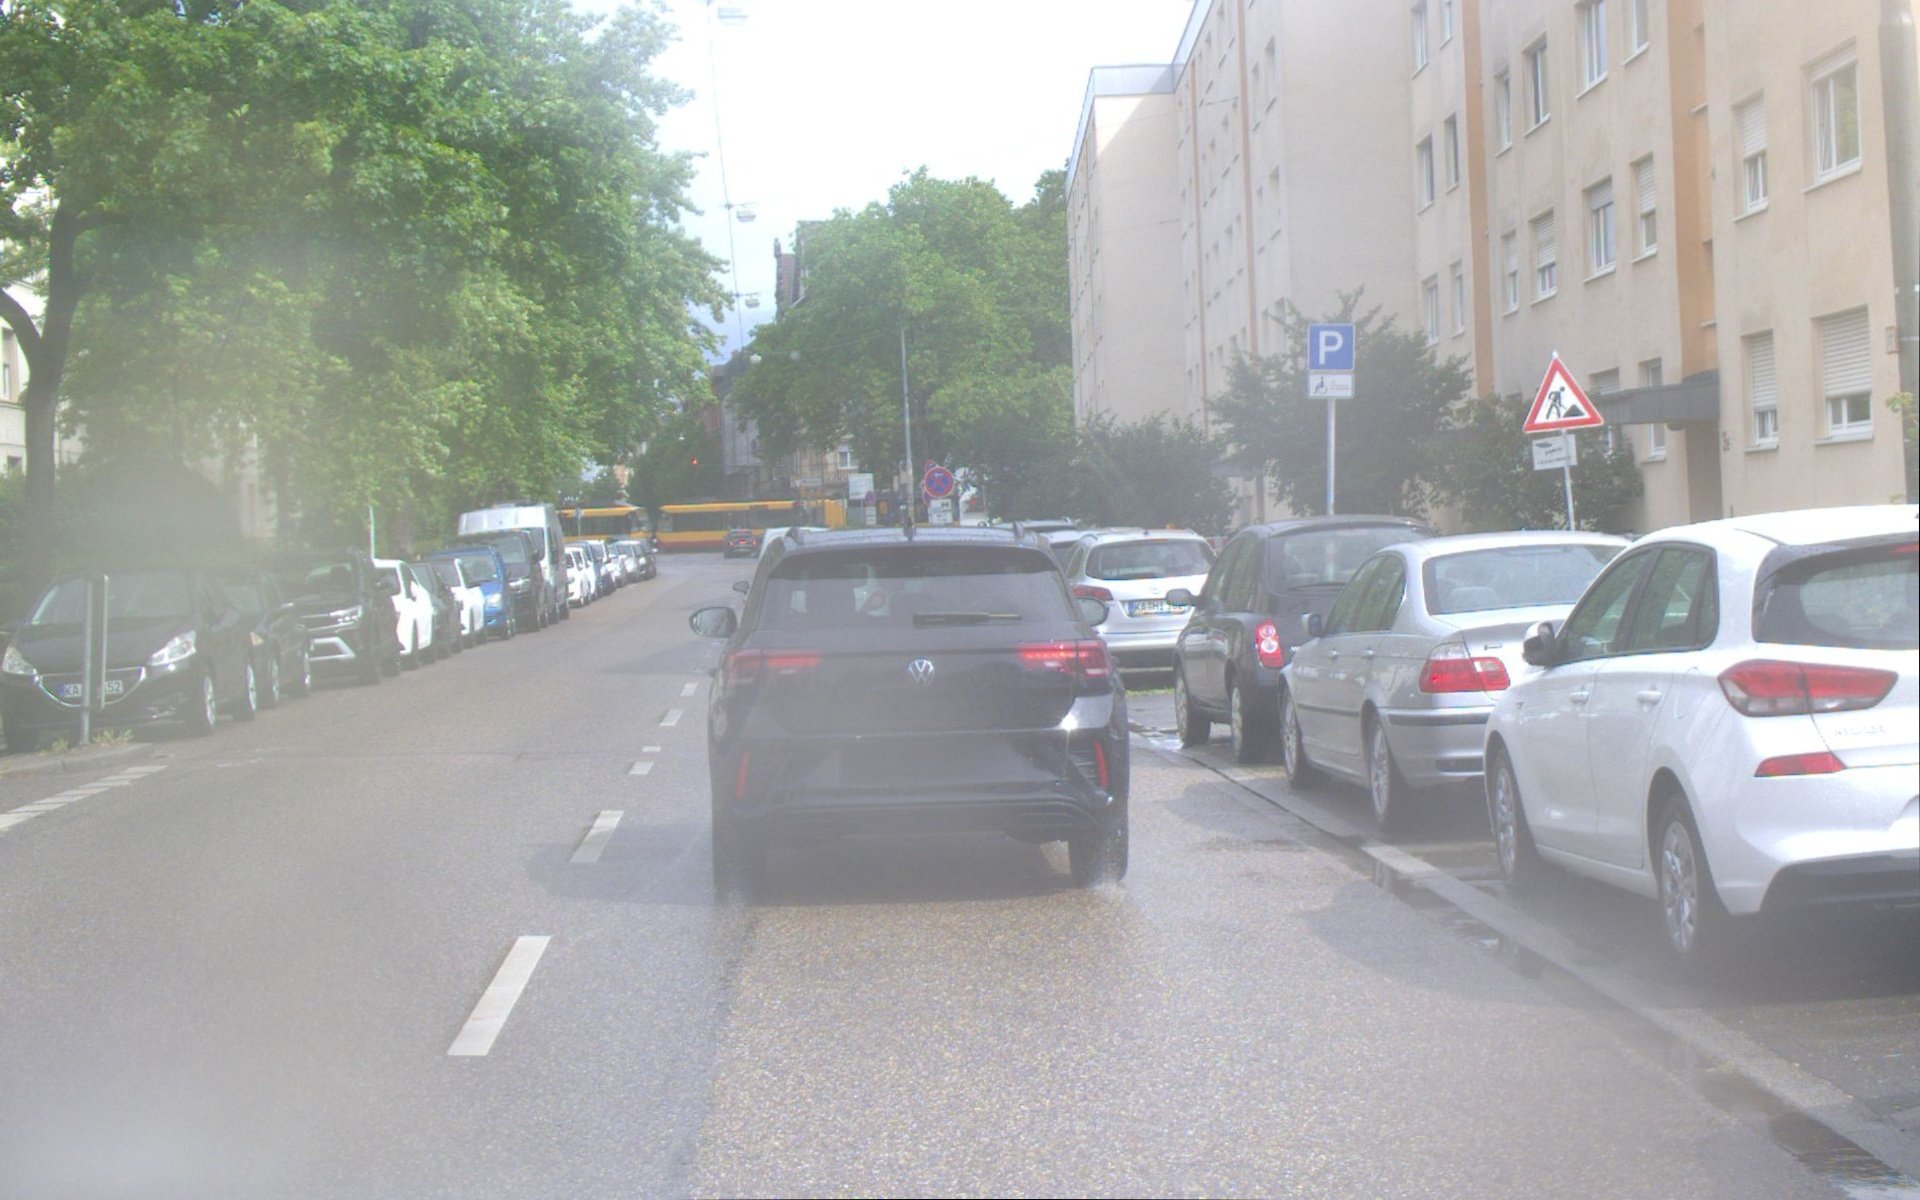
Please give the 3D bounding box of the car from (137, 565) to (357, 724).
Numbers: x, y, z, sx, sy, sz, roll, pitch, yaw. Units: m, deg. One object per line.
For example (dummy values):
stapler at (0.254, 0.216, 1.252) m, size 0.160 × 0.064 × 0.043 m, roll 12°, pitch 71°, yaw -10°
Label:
car at (-7.212, 0.405, 35.106) m, size 1.585 × 1.413 × 4.053 m, roll -3°, pitch 1°, yaw -4°

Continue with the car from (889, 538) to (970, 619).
car at (-0.730, -0.521, 80.554) m, size 1.604 × 1.759 × 4.033 m, roll -3°, pitch 1°, yaw -3°

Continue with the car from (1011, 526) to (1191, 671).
car at (1.576, -0.051, 39.628) m, size 1.604 × 1.500 × 4.033 m, roll -3°, pitch 1°, yaw -3°

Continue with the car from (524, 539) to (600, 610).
car at (-9.870, -0.658, 85.389) m, size 1.585 × 1.633 × 3.921 m, roll -3°, pitch 1°, yaw -4°

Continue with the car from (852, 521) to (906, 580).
car at (-2.674, -1.643, 113.060) m, size 1.665 × 1.831 × 4.000 m, roll -3°, pitch 1°, yaw -1°

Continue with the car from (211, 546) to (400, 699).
car at (-7.492, 0.215, 39.667) m, size 1.585 × 1.570 × 4.015 m, roll -3°, pitch 1°, yaw -4°

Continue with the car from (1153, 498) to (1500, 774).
car at (2.343, 0.169, 22.884) m, size 1.604 × 1.656 × 4.033 m, roll -1°, pitch 1°, yaw -4°

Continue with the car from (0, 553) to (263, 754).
car at (-7.080, 0.402, 29.417) m, size 1.585 × 1.500 × 4.065 m, roll -3°, pitch 1°, yaw -4°

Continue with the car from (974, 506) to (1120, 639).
car at (1.163, -0.401, 47.555) m, size 1.604 × 1.666 × 4.033 m, roll -3°, pitch 1°, yaw -3°

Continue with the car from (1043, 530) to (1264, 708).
car at (1.817, 0.136, 33.411) m, size 1.695 × 1.533 × 4.033 m, roll -3°, pitch 1°, yaw -2°

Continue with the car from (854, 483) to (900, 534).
car at (-3.180, -3.490, 131.413) m, size 1.665 × 1.831 × 4.000 m, roll -3°, pitch 1°, yaw -1°

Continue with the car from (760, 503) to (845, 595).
car at (-3.646, -1.172, 80.236) m, size 1.836 × 2.095 × 4.000 m, roll 0°, pitch 0°, yaw 0°

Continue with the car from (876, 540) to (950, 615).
car at (-1.204, -0.595, 86.632) m, size 1.604 × 1.759 × 4.033 m, roll -3°, pitch 1°, yaw -3°

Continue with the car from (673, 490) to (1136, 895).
car at (-0.209, 0.347, 16.039) m, size 1.873 × 1.640 × 4.062 m, roll 0°, pitch 1°, yaw 1°

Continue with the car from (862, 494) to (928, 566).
car at (-1.793, -1.911, 93.699) m, size 1.665 × 1.831 × 4.000 m, roll -3°, pitch 1°, yaw -1°

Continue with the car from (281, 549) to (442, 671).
car at (-7.762, 0.096, 44.876) m, size 1.585 × 1.413 × 3.921 m, roll -3°, pitch 1°, yaw -4°

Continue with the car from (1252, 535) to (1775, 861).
car at (2.682, 0.406, 17.640) m, size 1.716 × 1.447 × 4.260 m, roll -1°, pitch 1°, yaw -4°

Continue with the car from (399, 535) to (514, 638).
car at (-8.703, -0.256, 59.669) m, size 1.585 × 1.633 × 3.921 m, roll -3°, pitch 1°, yaw -4°

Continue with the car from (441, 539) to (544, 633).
car at (-8.835, -0.291, 65.209) m, size 1.585 × 1.633 × 3.921 m, roll -3°, pitch 1°, yaw -4°

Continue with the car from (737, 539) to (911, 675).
car at (-1.528, 0.066, 39.999) m, size 1.813 × 1.498 × 4.000 m, roll 0°, pitch 0°, yaw 1°

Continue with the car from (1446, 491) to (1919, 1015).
car at (3.006, 0.459, 12.099) m, size 1.748 × 1.503 × 4.112 m, roll -2°, pitch -1°, yaw -3°

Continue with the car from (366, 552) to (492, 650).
car at (-8.490, -0.013, 55.164) m, size 1.585 × 1.413 × 3.921 m, roll -3°, pitch 1°, yaw -4°

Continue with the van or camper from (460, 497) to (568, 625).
van or camper at (-9.292, -0.834, 71.906) m, size 1.802 × 2.485 × 5.021 m, roll -3°, pitch 1°, yaw -4°

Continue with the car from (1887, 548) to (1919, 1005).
car at (3.129, 0.589, 6.157) m, size 1.604 × 1.503 × 4.160 m, roll -4°, pitch 1°, yaw -2°
